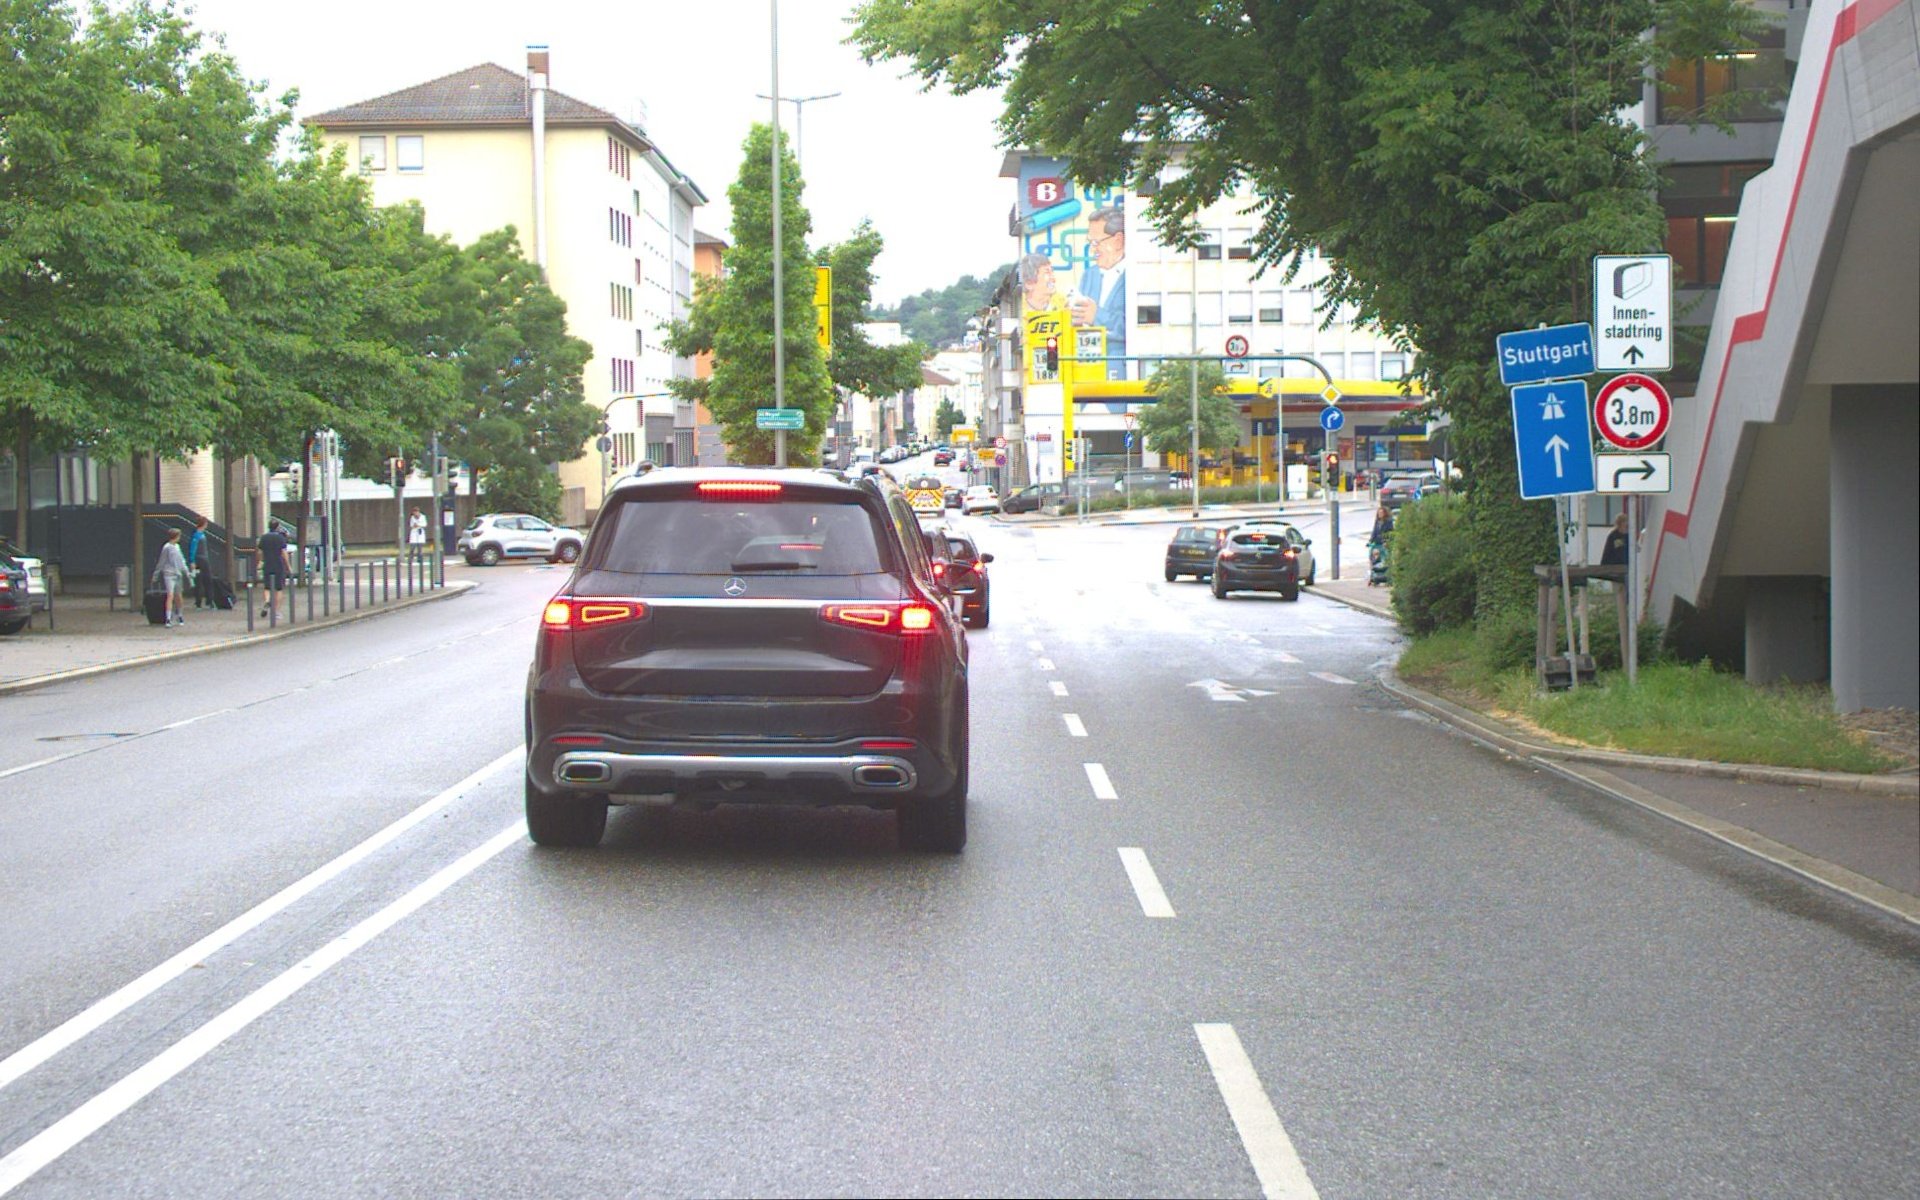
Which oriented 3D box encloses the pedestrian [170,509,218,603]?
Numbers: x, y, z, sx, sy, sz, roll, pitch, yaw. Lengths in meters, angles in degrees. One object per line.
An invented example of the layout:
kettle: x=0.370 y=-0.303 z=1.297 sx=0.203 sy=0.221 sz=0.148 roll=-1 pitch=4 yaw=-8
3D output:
pedestrian: x=-14.301 y=-0.816 z=64.201 sx=0.688 sy=1.719 sz=0.754 roll=1 pitch=-1 yaw=-1

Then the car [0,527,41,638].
car: x=-15.762 y=-0.281 z=49.813 sx=4.467 sy=1.581 sz=2.001 roll=0 pitch=1 yaw=-6

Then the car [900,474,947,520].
car: x=-1.663 y=-4.646 z=155.151 sx=1.993 sy=2.006 sz=4.001 roll=1 pitch=2 yaw=-1

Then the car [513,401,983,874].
car: x=-0.964 y=0.143 z=16.915 sx=1.993 sy=2.007 sz=4.000 roll=1 pitch=1 yaw=-1

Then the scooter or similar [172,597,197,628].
scooter or similar: x=-13.088 y=0.213 z=58.047 sx=0.280 sy=0.499 sz=0.616 roll=1 pitch=1 yaw=0

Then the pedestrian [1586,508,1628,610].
pedestrian: x=9.745 y=-0.619 z=51.818 sx=0.551 sy=1.527 sz=0.488 roll=1 pitch=0 yaw=6

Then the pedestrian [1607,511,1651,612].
pedestrian: x=10.073 y=-0.579 z=51.783 sx=0.582 sy=1.496 sz=0.504 roll=1 pitch=0 yaw=6

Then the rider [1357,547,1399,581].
rider: x=9.394 y=-0.813 z=77.210 sx=0.632 sy=0.737 sz=0.694 roll=2 pitch=1 yaw=41

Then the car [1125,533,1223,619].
car: x=5.197 y=-0.600 z=83.916 sx=1.993 sy=2.007 sz=4.000 roll=1 pitch=1 yaw=-2

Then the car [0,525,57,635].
car: x=-16.093 y=-0.349 z=51.987 sx=4.415 sy=1.568 sz=2.001 roll=1 pitch=3 yaw=-5

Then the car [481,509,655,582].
car: x=-10.983 y=-1.540 z=96.248 sx=4.803 sy=2.006 sz=2.001 roll=0 pitch=2 yaw=-7

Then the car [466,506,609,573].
car: x=-12.399 y=-1.778 z=100.816 sx=3.986 sy=1.936 sz=2.001 roll=0 pitch=1 yaw=-12

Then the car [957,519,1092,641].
car: x=0.922 y=-0.303 z=50.936 sx=1.703 sy=1.710 sz=3.444 roll=1 pitch=1 yaw=-3

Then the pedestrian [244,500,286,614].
pedestrian: x=-12.421 y=-0.770 z=61.443 sx=0.587 sy=2.007 sz=0.749 roll=1 pitch=0 yaw=-2

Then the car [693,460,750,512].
car: x=-9.452 y=-4.508 z=136.451 sx=1.993 sy=1.868 sz=5.142 roll=1 pitch=1 yaw=-2

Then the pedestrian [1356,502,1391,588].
pedestrian: x=9.302 y=-1.222 z=77.279 sx=0.663 sy=1.911 sz=0.728 roll=1 pitch=0 yaw=14

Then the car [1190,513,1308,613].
car: x=5.997 y=-0.748 z=71.810 sx=1.993 sy=2.007 sz=4.000 roll=1 pitch=0 yaw=-2

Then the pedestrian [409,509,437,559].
pedestrian: x=-16.016 y=-1.972 z=102.578 sx=0.711 sy=1.457 sz=0.598 roll=1 pitch=0 yaw=-1

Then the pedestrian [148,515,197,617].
pedestrian: x=-13.197 y=-0.565 z=57.642 sx=0.676 sy=1.691 sz=0.479 roll=1 pitch=0 yaw=-1
